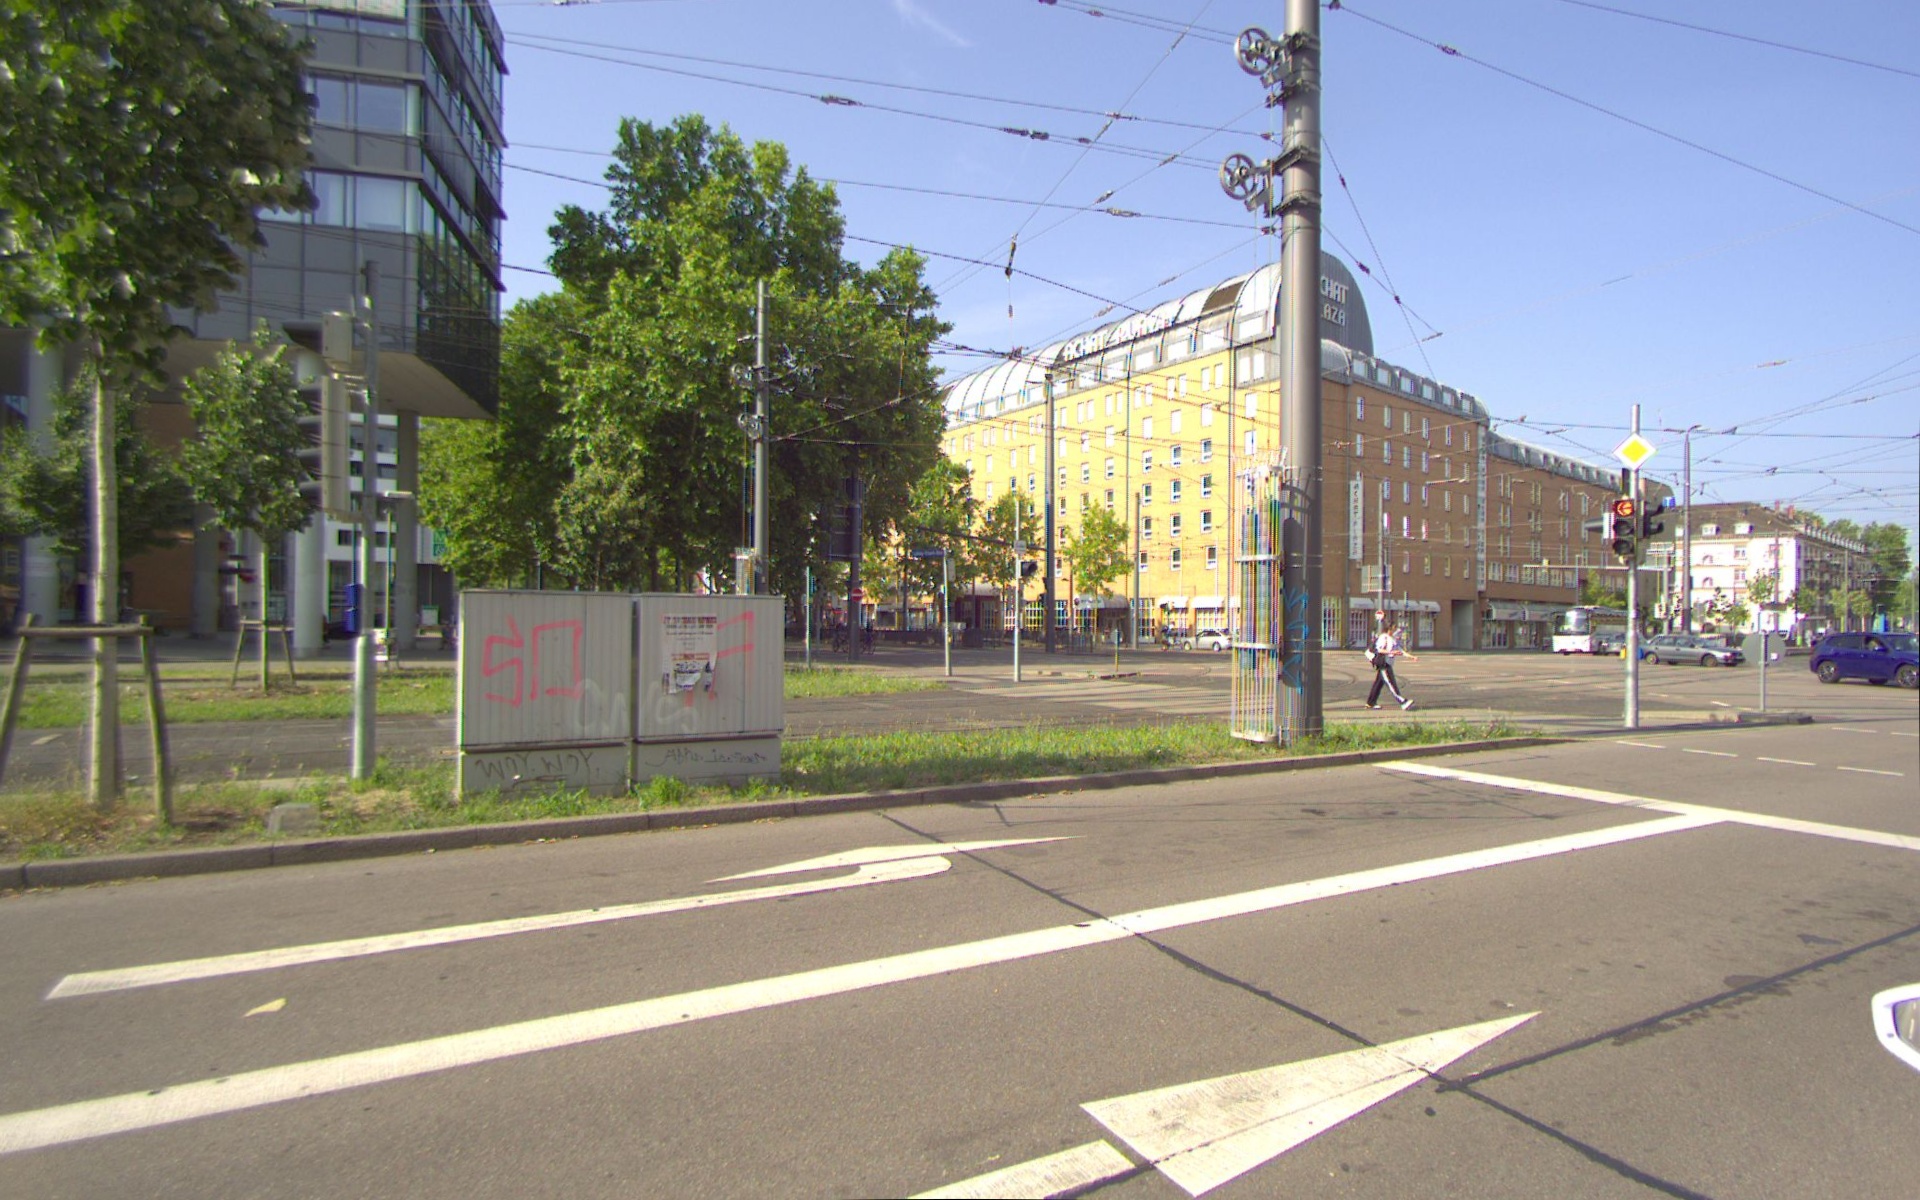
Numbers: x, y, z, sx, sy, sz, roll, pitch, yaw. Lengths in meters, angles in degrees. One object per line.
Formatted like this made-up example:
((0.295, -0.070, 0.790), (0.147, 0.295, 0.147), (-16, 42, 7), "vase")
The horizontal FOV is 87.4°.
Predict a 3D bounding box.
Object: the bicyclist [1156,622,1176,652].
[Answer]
((12.769, 2.291, 62.212), (0.951, 1.769, 0.665), (2, -2, -15), "bicyclist")

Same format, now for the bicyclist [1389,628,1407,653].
((30.549, 2.805, 70.026), (0.666, 1.718, 0.977), (3, -2, -44), "bicyclist")

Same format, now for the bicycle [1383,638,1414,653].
((30.542, 3.172, 70.018), (0.417, 0.982, 1.940), (3, -3, -44), "bicycle")

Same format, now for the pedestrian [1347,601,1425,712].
((8.074, 1.050, 19.052), (1.143, 2.040, 0.772), (0, -2, 43), "pedestrian")

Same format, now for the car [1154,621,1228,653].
((15.220, 2.426, 66.433), (1.982, 2.040, 4.567), (1, -1, -37), "car")

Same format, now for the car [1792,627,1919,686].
((27.887, 1.692, 30.205), (1.954, 1.657, 4.413), (2, -2, -3), "car")

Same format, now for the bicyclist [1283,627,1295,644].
((21.976, 2.373, 67.071), (0.603, 1.144, 0.519), (3, -2, -31), "bicyclist")

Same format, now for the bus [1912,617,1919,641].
((84.107, 2.554, 87.158), (3.973, 2.040, 1.974), (2, -1, -44), "bus")

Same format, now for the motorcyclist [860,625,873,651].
((-4.873, 1.961, 52.368), (0.414, 1.339, 0.527), (3, -2, -37), "motorcyclist")

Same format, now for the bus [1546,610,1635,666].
((48.381, 2.999, 76.848), (12.130, 3.972, 2.721), (4, -3, -43), "bus")

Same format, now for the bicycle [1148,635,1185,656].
((12.803, 2.849, 62.233), (2.249, 1.222, 0.548), (2, -2, -16), "bicycle")

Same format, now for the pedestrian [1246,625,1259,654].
((20.196, 2.744, 69.388), (0.735, 1.978, 0.883), (0, -1, 22), "pedestrian")

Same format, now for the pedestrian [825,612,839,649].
((-7.045, 1.688, 55.384), (0.534, 2.040, 0.486), (3, -2, -37), "pedestrian")

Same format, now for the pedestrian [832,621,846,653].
((-6.602, 2.026, 54.858), (0.504, 1.748, 0.527), (3, -2, -37), "pedestrian")

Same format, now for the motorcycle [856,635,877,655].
((-4.882, 2.344, 52.350), (0.281, 1.008, 1.678), (3, -2, -36), "motorcycle")

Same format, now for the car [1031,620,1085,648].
((7.593, 2.625, 78.087), (1.982, 2.040, 3.958), (3, -2, -37), "car")

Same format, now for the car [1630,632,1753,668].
((33.934, 2.305, 46.688), (1.976, 1.506, 4.189), (3, -2, -29), "car")

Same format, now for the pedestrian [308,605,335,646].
((-24.789, 0.977, 39.007), (0.651, 1.563, 0.617), (1, -1, -11), "pedestrian")

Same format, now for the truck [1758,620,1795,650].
((75.710, 3.271, 93.127), (4.705, 2.632, 1.976), (4, -3, -42), "truck")
